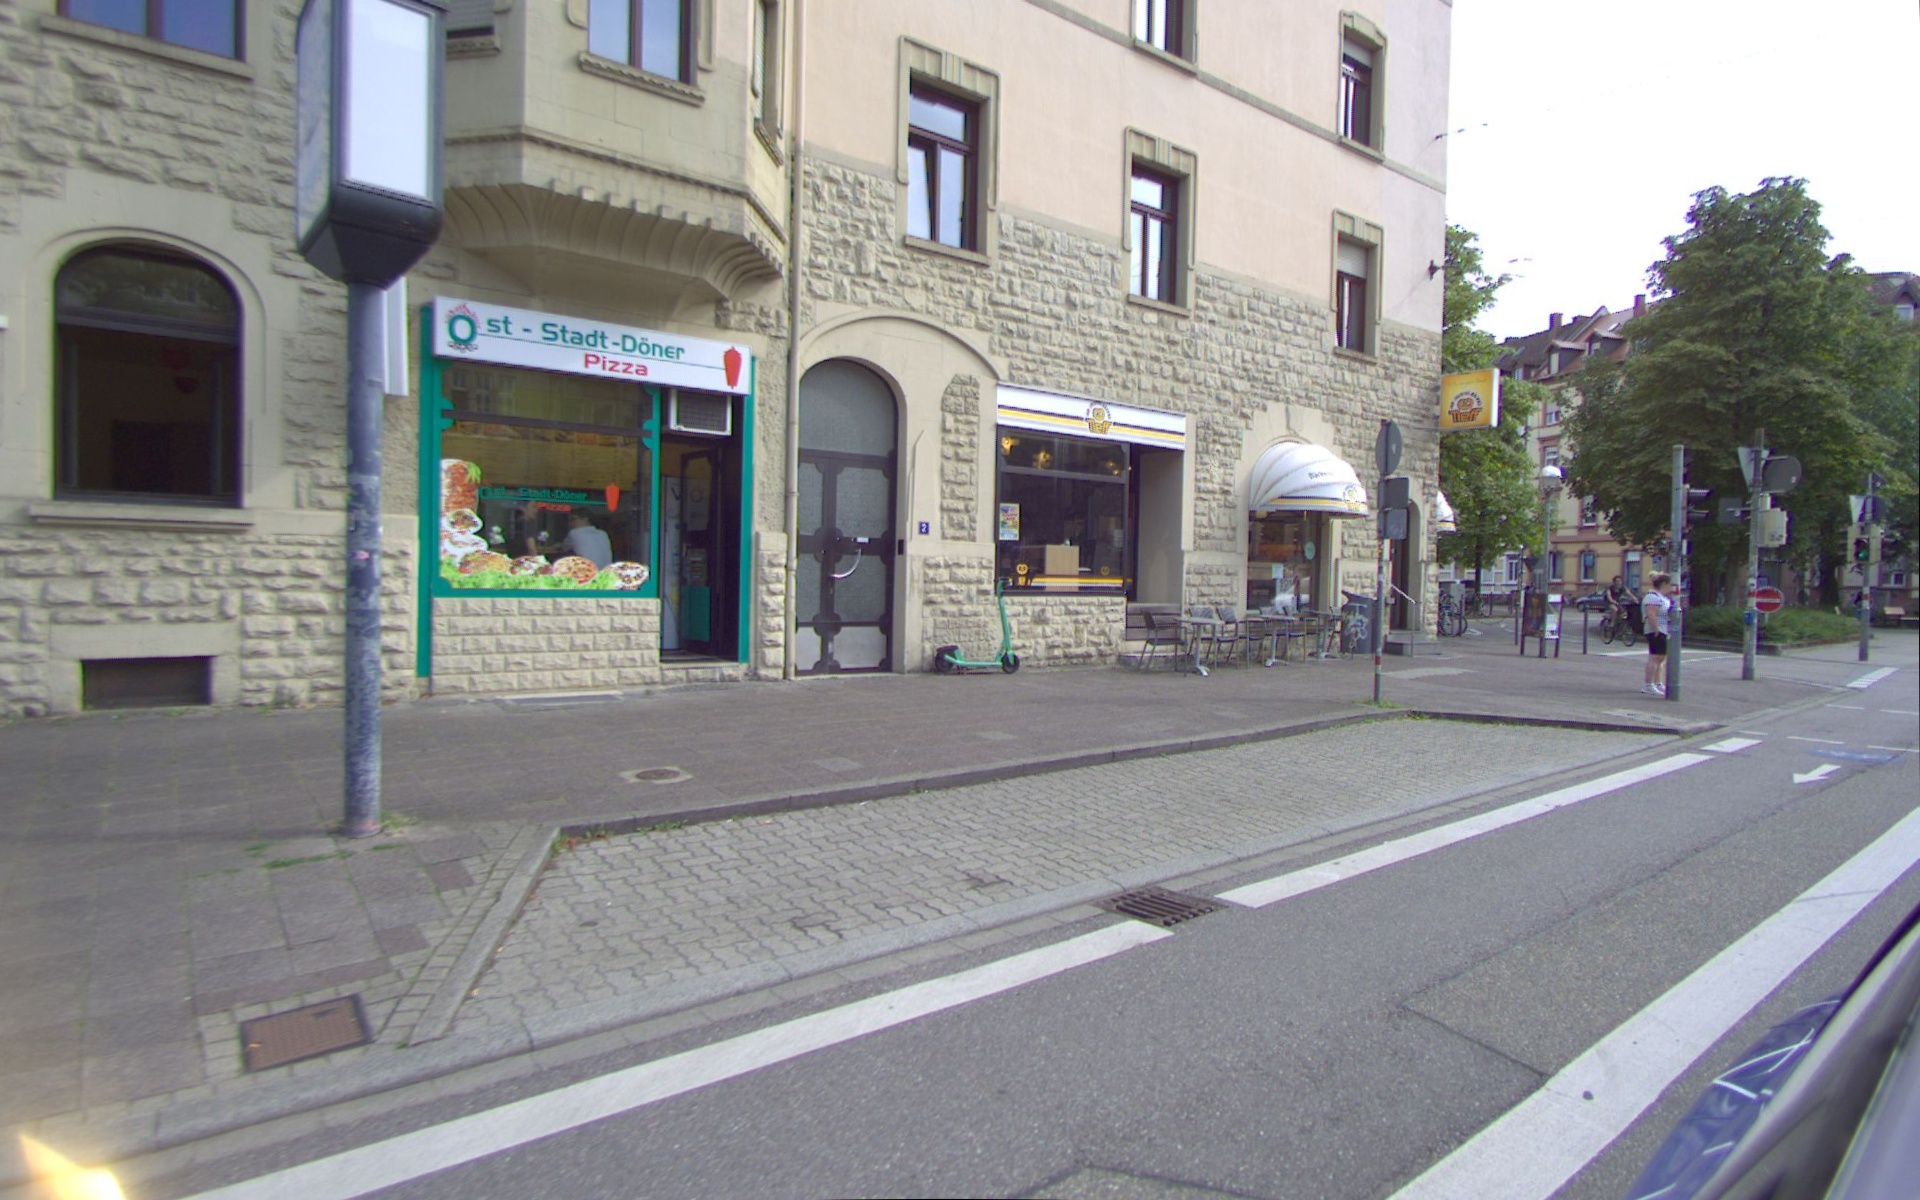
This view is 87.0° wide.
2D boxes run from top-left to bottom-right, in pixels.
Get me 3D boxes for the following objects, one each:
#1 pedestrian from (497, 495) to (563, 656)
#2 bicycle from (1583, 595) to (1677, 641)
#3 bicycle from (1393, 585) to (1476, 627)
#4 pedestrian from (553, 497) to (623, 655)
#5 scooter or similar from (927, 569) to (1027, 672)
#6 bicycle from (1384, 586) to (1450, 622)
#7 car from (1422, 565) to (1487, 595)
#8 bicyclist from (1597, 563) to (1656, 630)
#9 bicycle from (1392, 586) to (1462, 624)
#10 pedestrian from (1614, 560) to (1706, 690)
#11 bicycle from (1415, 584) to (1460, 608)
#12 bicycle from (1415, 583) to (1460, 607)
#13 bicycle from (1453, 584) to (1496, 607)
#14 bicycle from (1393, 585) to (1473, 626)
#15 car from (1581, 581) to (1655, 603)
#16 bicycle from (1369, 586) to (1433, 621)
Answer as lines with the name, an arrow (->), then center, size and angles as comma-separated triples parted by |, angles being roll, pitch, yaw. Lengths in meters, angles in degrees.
pedestrian -> -4.443, -0.253, 10.443 | 0.498, 1.600, 0.561 | 0, 1, -36
bicycle -> 17.492, 0.446, 26.535 | 0.872, 1.058, 3.089 | 1, 2, 10
bicycle -> 12.717, 0.160, 27.140 | 2.007, 1.051, 0.483 | 2, 0, -5
pedestrian -> -3.932, -0.253, 10.695 | 0.551, 1.600, 0.551 | 0, 1, -36
scooter or similar -> 0.218, 0.238, 12.322 | 1.174, 1.182, 0.399 | 0, 3, -36
bicycle -> 13.959, 0.123, 30.935 | 1.760, 1.051, 0.482 | 2, 0, 2
car -> 36.813, -1.499, 75.536 | 1.702, 2.143, 4.555 | 0, 1, -17
bicyclist -> 17.525, -0.099, 26.645 | 0.826, 1.711, 1.243 | 2, 1, 10
bicycle -> 13.519, 0.143, 29.318 | 1.760, 1.051, 0.482 | 2, 0, 2
pedestrian -> 9.671, 0.324, 13.989 | 0.746, 1.680, 0.721 | 0, 6, -39
bicycle -> 22.265, -0.185, 47.204 | 1.787, 1.051, 0.475 | 2, 0, 42
bicycle -> 21.931, -0.240, 46.489 | 1.787, 1.051, 0.475 | 2, 0, 42
bicycle -> 24.791, -0.240, 48.797 | 1.787, 1.051, 0.475 | 2, 0, 42
bicycle -> 13.061, 0.155, 27.945 | 2.007, 1.051, 0.483 | 2, 0, -5
car -> 39.833, -0.494, 61.350 | 1.703, 1.282, 3.597 | 0, 1, -12
bicycle -> 14.045, 0.105, 32.265 | 1.763, 1.051, 0.482 | 2, 0, 8
